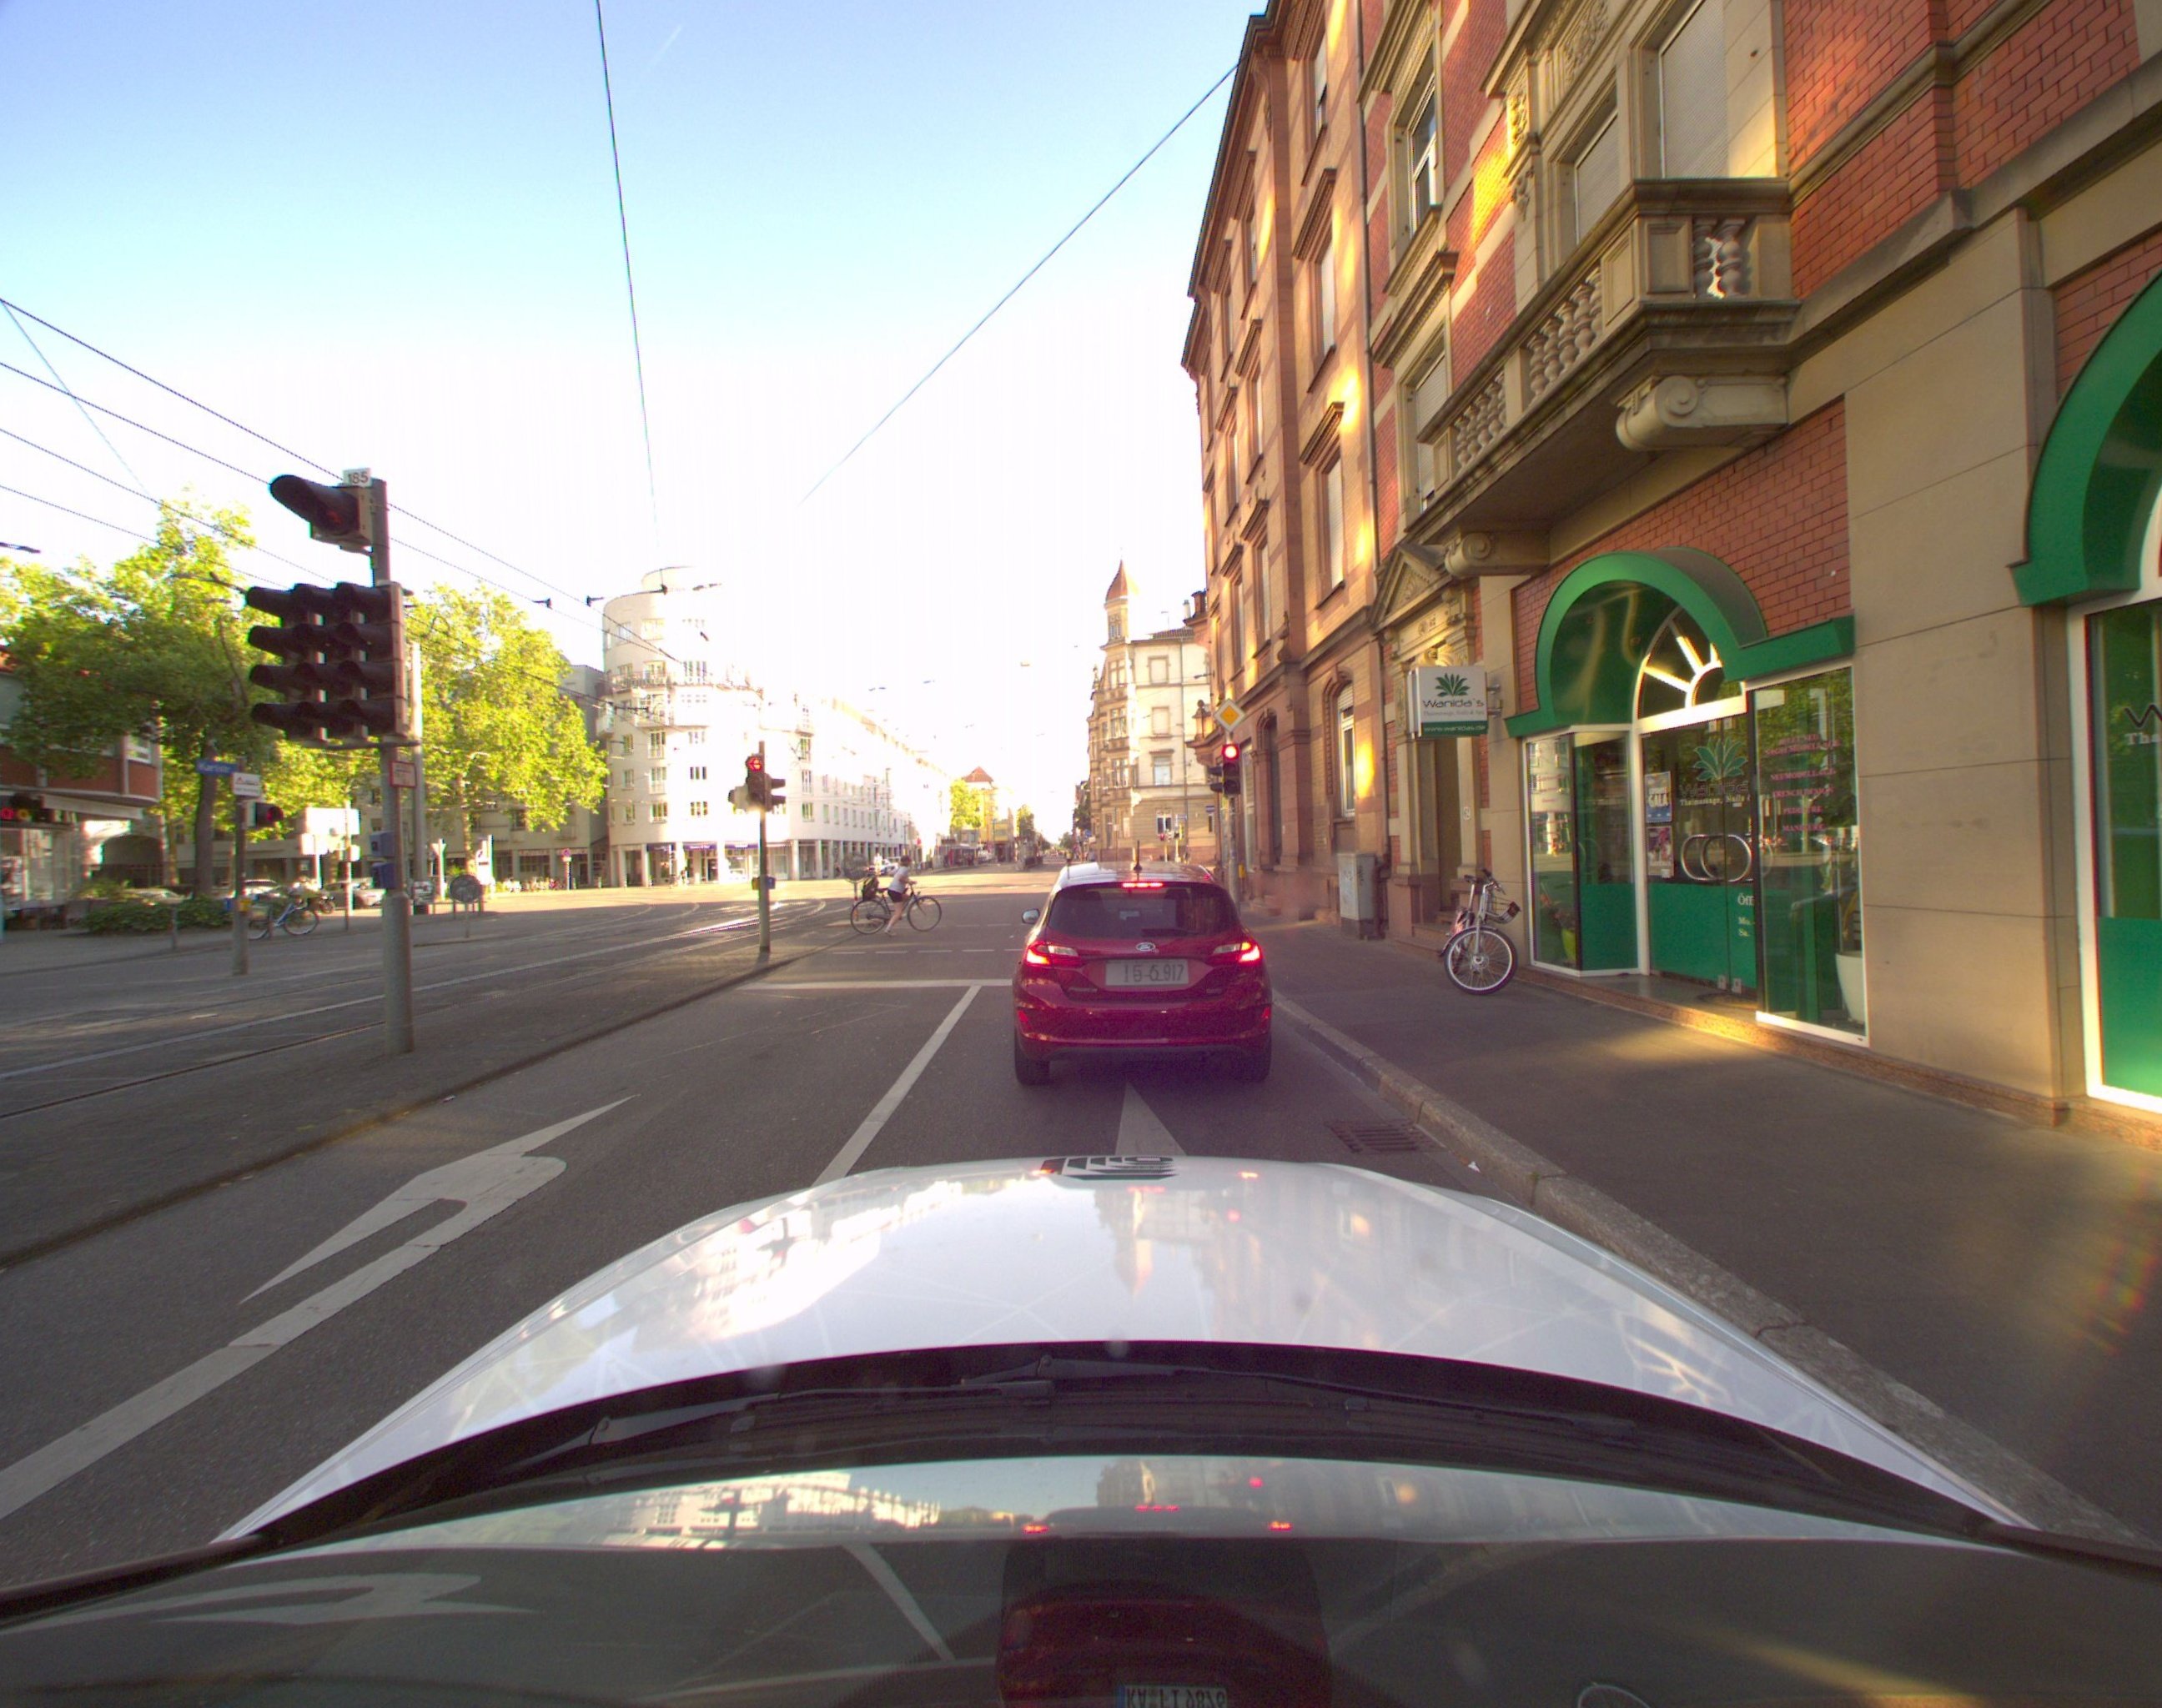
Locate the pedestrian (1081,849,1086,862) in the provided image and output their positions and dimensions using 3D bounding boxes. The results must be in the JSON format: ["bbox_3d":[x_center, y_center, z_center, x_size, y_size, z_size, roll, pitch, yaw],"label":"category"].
[{"bbox_3d":[0.393,0.256,131.378,0.574,2.013,0.632,-2,0,5],"label":"pedestrian"}]

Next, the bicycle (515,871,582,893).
[{"bbox_3d":[-42.821,2.238,65.563,4.685,1.530,1.067,-2,0,2],"label":"bicycle"}]

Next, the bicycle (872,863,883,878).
[{"bbox_3d":[-16.207,1.311,64.867,0.809,1.147,1.999,-2,0,-16],"label":"bicycle"}]

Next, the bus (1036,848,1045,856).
[{"bbox_3d":[-10.812,-0.461,218.166,1.919,2.013,7.137,-2,0,1],"label":"bus"}]

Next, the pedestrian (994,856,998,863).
[{"bbox_3d":[-17.376,1.096,166.527,0.522,1.488,0.583,-2,0,1],"label":"pedestrian"}]

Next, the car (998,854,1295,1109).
[{"bbox_3d":[0.311,0.746,6.772,1.750,1.466,3.941,-1,0,-3],"label":"car"}]

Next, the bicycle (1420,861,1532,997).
[{"bbox_3d":[3.874,0.686,8.114,0.710,1.152,1.662,-4,0,17],"label":"bicycle"}]

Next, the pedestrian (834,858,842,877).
[{"bbox_3d":[-22.176,1.241,74.285,0.524,1.681,0.484,-2,0,-8],"label":"pedestrian"}]

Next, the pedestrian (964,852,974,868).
[{"bbox_3d":[-14.357,0.760,104.243,1.043,2.013,0.958,-2,0,-3],"label":"pedestrian"}]

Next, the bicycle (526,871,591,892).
[{"bbox_3d":[-42.999,2.255,67.091,4.685,1.530,1.067,-2,0,2],"label":"bicycle"}]

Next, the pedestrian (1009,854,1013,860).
[{"bbox_3d":[-17.035,0.726,198.071,0.630,1.604,0.575,-2,0,-18],"label":"pedestrian"}]

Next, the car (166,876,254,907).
[{"bbox_3d":[-63.308,2.678,59.280,1.986,1.964,4.001,-2,0,1],"label":"car"}]

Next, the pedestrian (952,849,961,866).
[{"bbox_3d":[-15.737,0.442,103.089,1.043,2.013,0.958,-2,0,-3],"label":"pedestrian"}]

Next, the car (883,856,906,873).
[{"bbox_3d":[-20.335,1.112,88.739,1.696,1.718,3.562,-2,0,-1],"label":"car"}]

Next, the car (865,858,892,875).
[{"bbox_3d":[-20.154,1.247,81.154,1.760,1.546,3.460,-2,0,0],"label":"car"}]

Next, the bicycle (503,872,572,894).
[{"bbox_3d":[-42.983,2.250,64.426,4.685,1.530,1.067,-2,0,2],"label":"bicycle"}]

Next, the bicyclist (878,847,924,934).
[{"bbox_3d":[-3.511,0.692,15.864,0.733,1.627,0.760,-1,0,-23],"label":"bicyclist"}]

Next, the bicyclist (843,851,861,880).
[{"bbox_3d":[-14.171,0.704,50.412,0.805,1.726,0.794,-2,0,-2],"label":"bicyclist"}]

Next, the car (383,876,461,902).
[{"bbox_3d":[-44.165,2.322,54.610,3.969,1.531,1.618,-2,0,4],"label":"car"}]

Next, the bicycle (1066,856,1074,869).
[{"bbox_3d":[-0.975,0.749,72.966,0.524,1.089,1.488,-2,0,4],"label":"bicycle"}]

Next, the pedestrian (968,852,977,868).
[{"bbox_3d":[-14.211,0.795,106.667,1.043,2.013,0.958,-2,0,-3],"label":"pedestrian"}]

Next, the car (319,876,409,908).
[{"bbox_3d":[-40.230,2.117,45.725,3.978,1.559,1.636,-2,0,11],"label":"car"}]

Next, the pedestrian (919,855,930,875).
[{"bbox_3d":[-14.276,1.005,74.254,0.766,1.730,0.573,-2,0,1],"label":"pedestrian"}]

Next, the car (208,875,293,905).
[{"bbox_3d":[-60.389,2.589,59.296,1.986,1.964,4.001,-2,0,1],"label":"car"}]

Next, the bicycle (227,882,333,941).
[{"bbox_3d":[-19.747,1.387,20.146,0.668,1.327,1.907,1,0,2],"label":"bicycle"}]

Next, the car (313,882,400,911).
[{"bbox_3d":[-36.909,2.150,41.491,3.968,1.295,1.781,-2,0,24],"label":"car"}]

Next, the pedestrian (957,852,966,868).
[{"bbox_3d":[-15.517,0.744,105.919,1.043,2.013,0.958,-2,0,-3],"label":"pedestrian"}]

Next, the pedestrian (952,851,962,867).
[{"bbox_3d":[-15.519,0.591,101.871,0.953,2.013,1.048,-2,0,-1],"label":"pedestrian"}]

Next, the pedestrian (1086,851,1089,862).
[{"bbox_3d":[0.928,0.371,117.470,0.412,1.680,0.485,-2,0,1],"label":"pedestrian"}]

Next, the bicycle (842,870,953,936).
[{"bbox_3d":[-3.592,0.928,15.993,2.027,1.177,0.623,-1,0,-24],"label":"bicycle"}]

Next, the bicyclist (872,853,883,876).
[{"bbox_3d":[-16.175,0.839,64.711,0.809,1.821,0.988,-2,0,-16],"label":"bicyclist"}]

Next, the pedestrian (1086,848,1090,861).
[{"bbox_3d":[1.215,0.092,135.341,0.574,2.013,0.632,-2,0,5],"label":"pedestrian"}]

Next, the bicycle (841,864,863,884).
[{"bbox_3d":[-14.152,1.210,50.404,0.805,1.147,2.048,-2,0,-1],"label":"bicycle"}]

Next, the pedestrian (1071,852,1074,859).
[{"bbox_3d":[-2.127,0.406,201.762,0.575,1.887,0.630,-2,0,-1],"label":"pedestrian"}]

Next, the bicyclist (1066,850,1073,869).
[{"bbox_3d":[-0.998,0.454,72.773,0.497,1.676,0.546,-2,0,3],"label":"bicyclist"}]

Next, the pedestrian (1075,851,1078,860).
[{"bbox_3d":[-1.056,0.310,174.914,0.575,2.013,0.630,-2,0,0],"label":"pedestrian"}]

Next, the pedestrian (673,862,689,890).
[{"bbox_3d":[-29.651,1.605,60.406,0.949,2.013,0.931,-2,0,-29],"label":"pedestrian"}]

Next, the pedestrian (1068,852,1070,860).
[{"bbox_3d":[-2.997,0.487,204.751,0.575,1.887,0.669,-2,0,-1],"label":"pedestrian"}]

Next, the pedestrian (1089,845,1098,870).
[{"bbox_3d":[1.040,0.299,68.832,0.649,2.013,0.759,-2,0,-2],"label":"pedestrian"}]
